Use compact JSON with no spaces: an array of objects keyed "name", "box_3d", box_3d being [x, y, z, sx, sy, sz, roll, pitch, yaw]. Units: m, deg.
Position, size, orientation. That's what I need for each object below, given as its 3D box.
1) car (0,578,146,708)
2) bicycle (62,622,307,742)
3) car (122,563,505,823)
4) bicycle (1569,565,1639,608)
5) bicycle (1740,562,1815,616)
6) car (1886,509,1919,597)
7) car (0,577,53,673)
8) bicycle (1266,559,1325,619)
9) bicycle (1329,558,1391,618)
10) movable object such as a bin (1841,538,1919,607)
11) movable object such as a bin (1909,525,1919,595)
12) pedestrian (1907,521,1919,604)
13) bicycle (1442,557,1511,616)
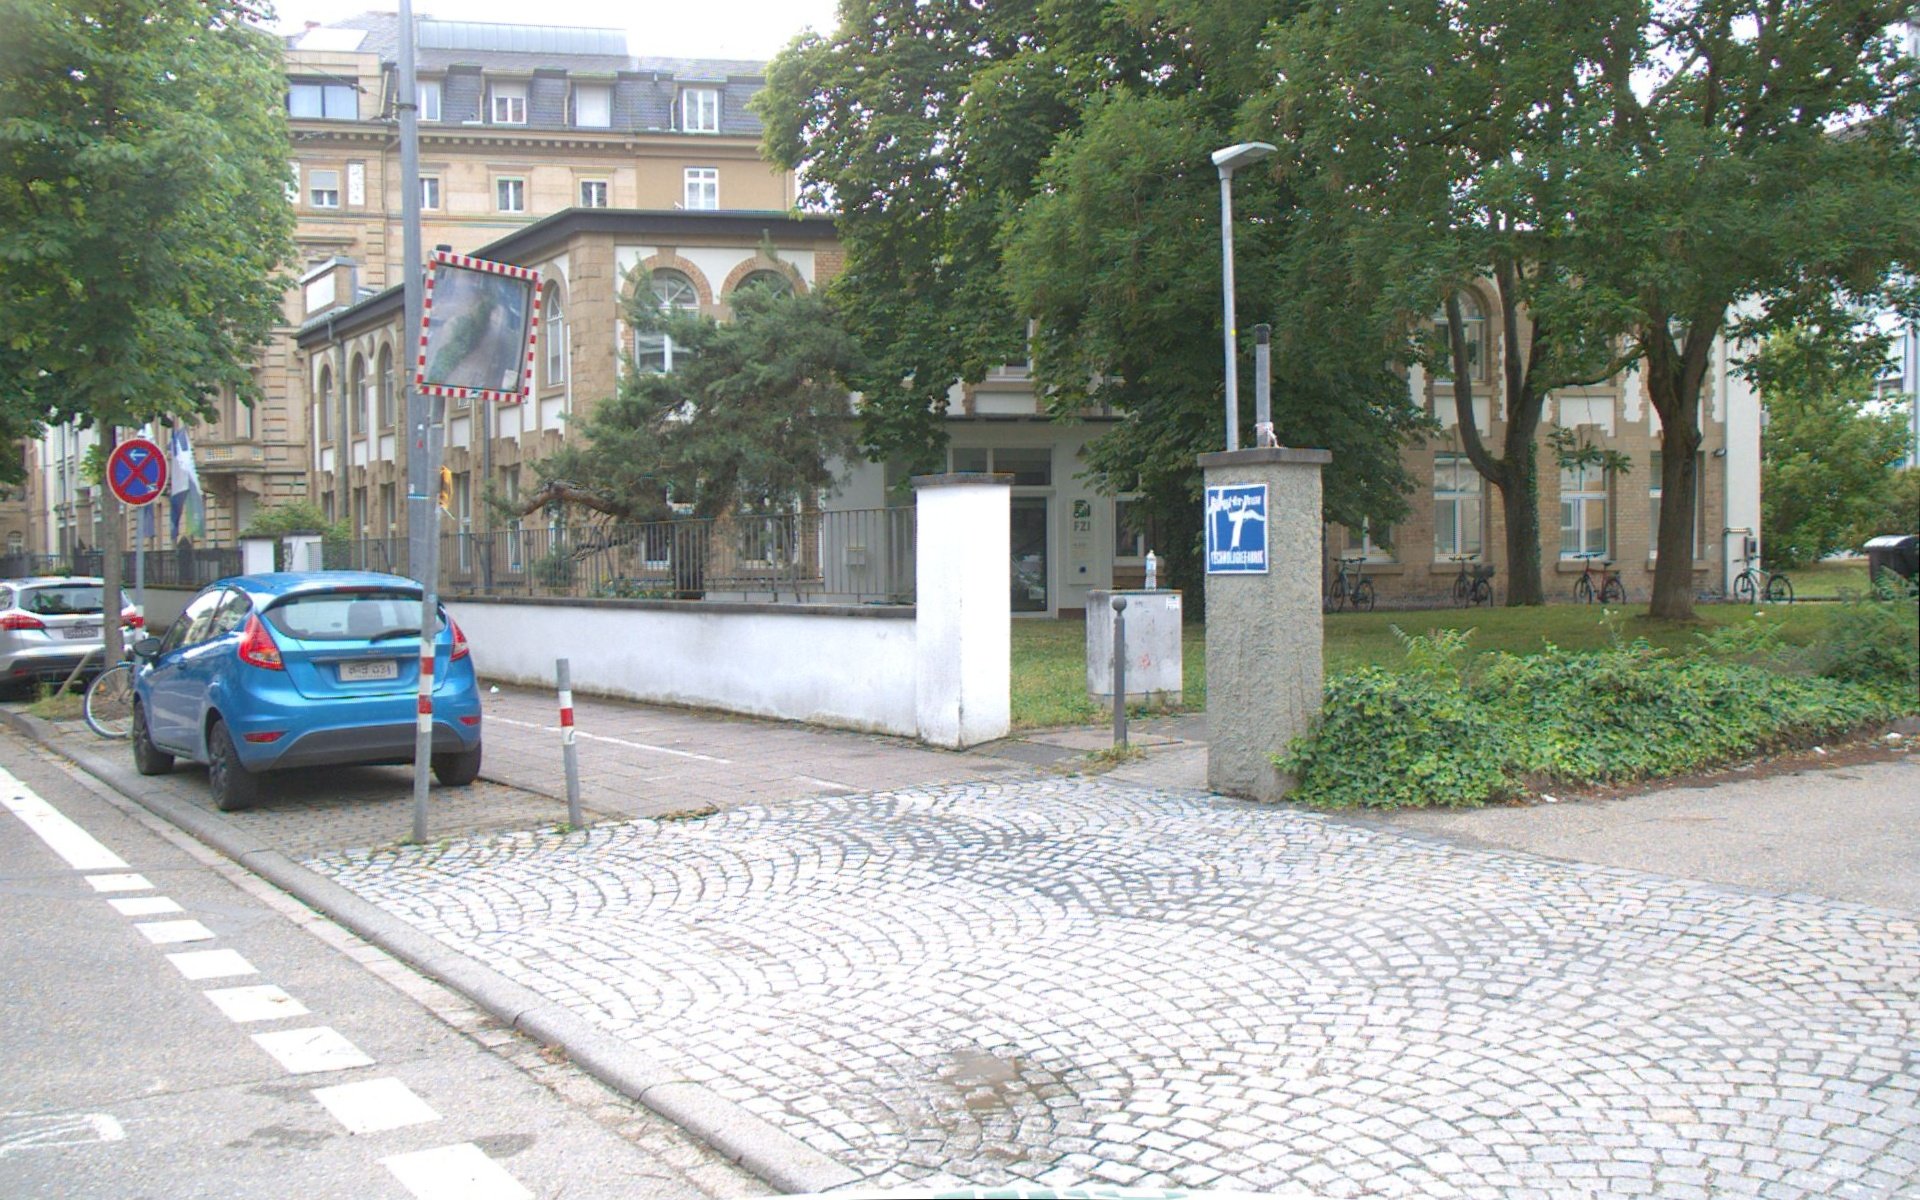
[{"name":"car","box_3d":[-11.553,0.481,21.160,1.464,1.506,3.519,-1,1,-36]},{"name":"bicycle","box_3d":[-7.224,0.738,15.480,2.000,0.973,0.526,-2,2,-40]},{"name":"car","box_3d":[-4.667,0.523,11.694,1.661,1.486,3.388,-3,3,-36]},{"name":"bicycle","box_3d":[13.189,-0.287,33.930,0.604,0.827,1.944,-1,1,-3]},{"name":"bicycle","box_3d":[17.020,-0.244,34.481,0.387,1.084,1.824,-1,1,-11]},{"name":"car","box_3d":[24.455,-1.115,39.233,4.263,2.049,1.848,-1,0,-14]},{"name":"car","box_3d":[-15.833,0.376,26.866,1.464,1.453,3.519,-2,2,-36]},{"name":"bicycle","box_3d":[6.639,-0.242,32.839,0.604,1.139,2.220,-1,1,-3]},{"name":"bicycle","box_3d":[7.954,-0.257,32.957,0.604,1.139,2.220,-1,1,-3]},{"name":"movable object such as a bin","box_3d":[17.766,-0.530,31.761,1.030,1.287,1.355,-1,1,3]},{"name":"movable object such as a bin","box_3d":[18.374,-0.743,30.330,1.036,1.287,1.347,-1,1,-18]},{"name":"pedestrian","box_3d":[21.621,-0.845,36.691,0.741,1.840,0.696,-1,0,-13]},{"name":"bicycle","box_3d":[10.413,-0.288,33.399,0.604,1.139,2.220,-1,1,-3]}]
